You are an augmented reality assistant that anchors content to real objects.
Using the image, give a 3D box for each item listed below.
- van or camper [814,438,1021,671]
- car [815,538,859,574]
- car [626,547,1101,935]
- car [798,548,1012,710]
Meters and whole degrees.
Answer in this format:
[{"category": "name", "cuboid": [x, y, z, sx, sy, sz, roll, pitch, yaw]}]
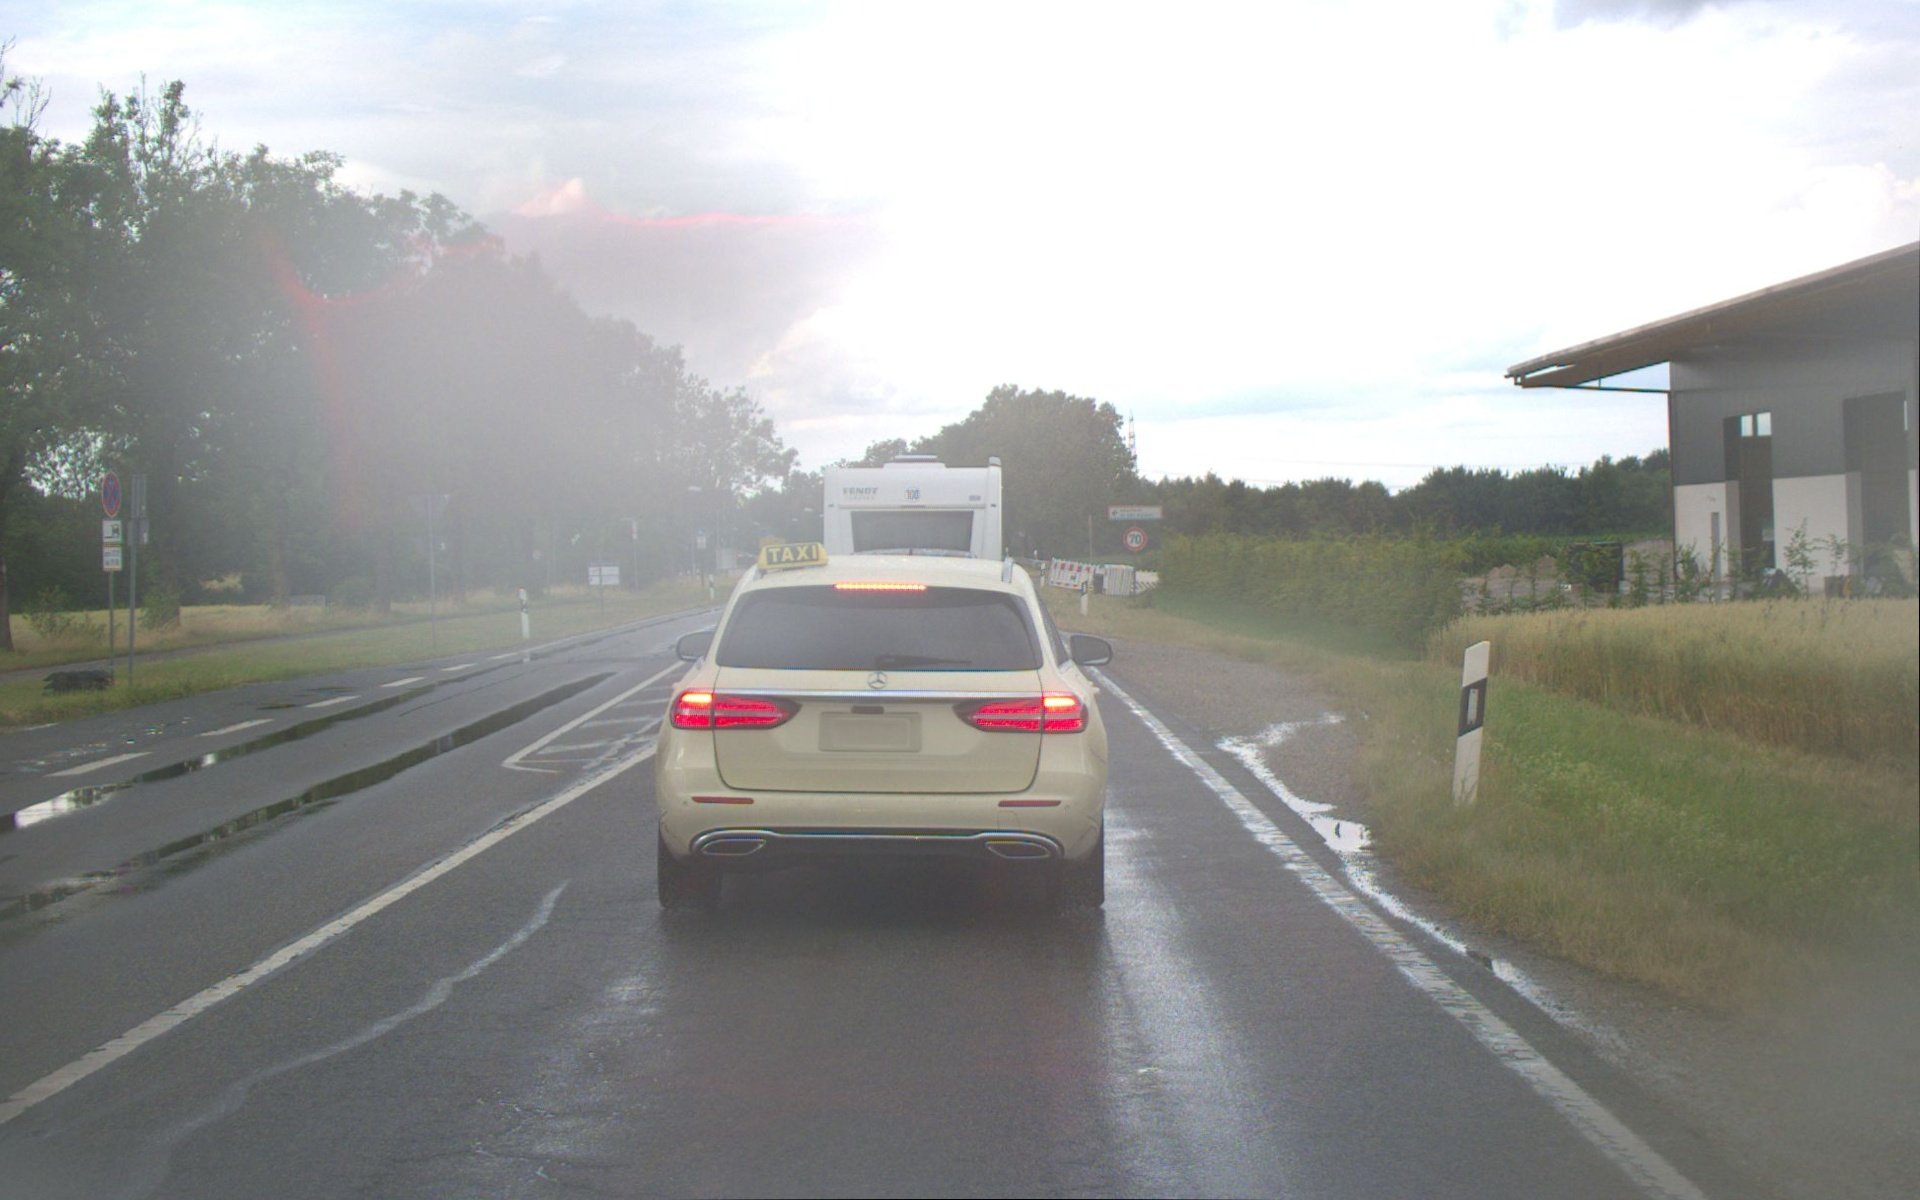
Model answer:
[{"category": "van or camper", "cuboid": [-0.504, -0.615, 46.112, 2.497, 2.821, 5.934, -2, 1, 1]}, {"category": "car", "cuboid": [-5.898, -2.104, 164.664, 1.916, 1.626, 4.357, -3, 1, 0]}, {"category": "car", "cuboid": [-0.363, 0.506, 15.082, 1.797, 1.459, 4.031, 0, 1, 0]}, {"category": "car", "cuboid": [-0.520, 0.229, 32.618, 1.894, 1.424, 3.928, -1, 1, -1]}]
